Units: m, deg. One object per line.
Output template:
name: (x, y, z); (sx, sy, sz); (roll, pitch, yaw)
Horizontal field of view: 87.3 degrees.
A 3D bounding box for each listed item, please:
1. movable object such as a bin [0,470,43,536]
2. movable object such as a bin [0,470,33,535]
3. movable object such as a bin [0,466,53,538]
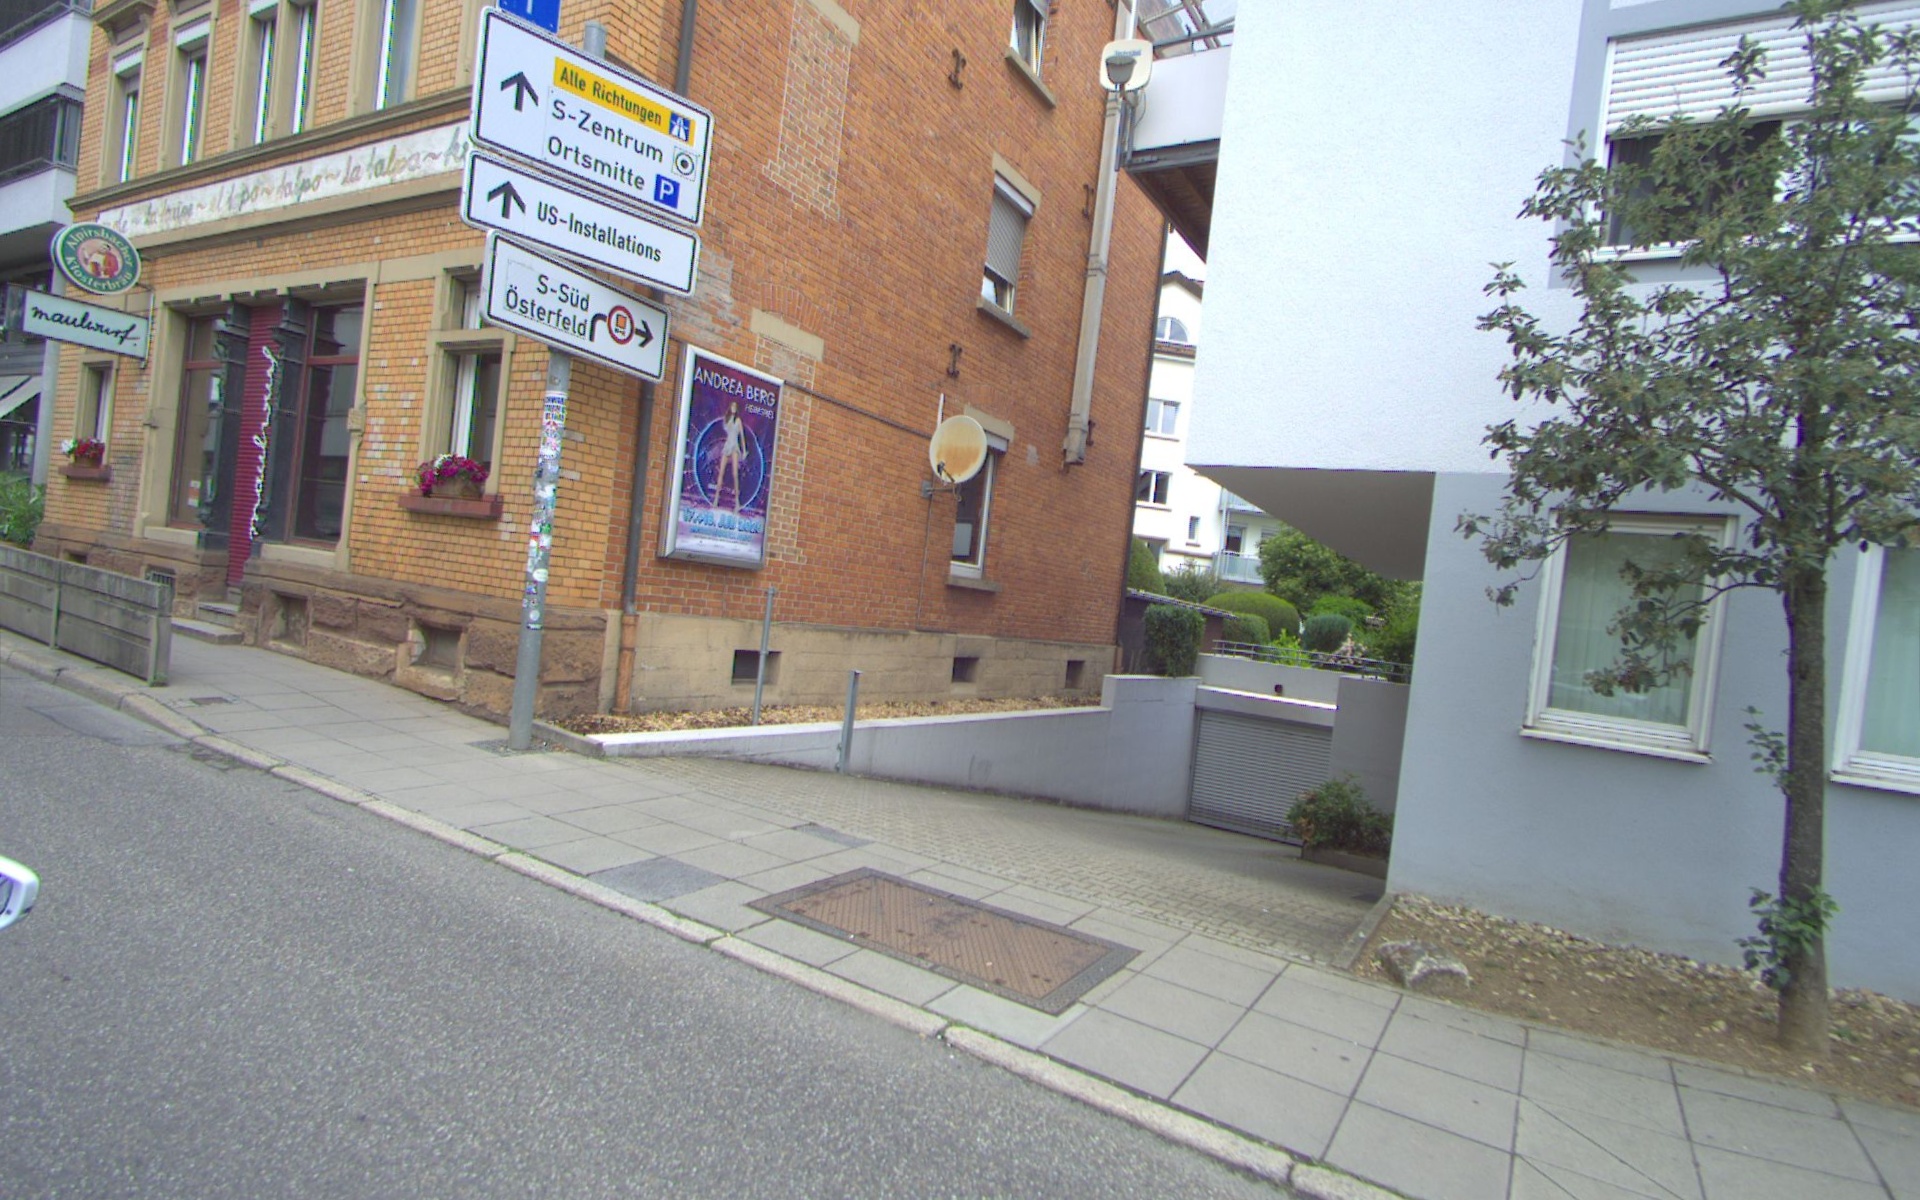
movable object such as a bin: (-23.044, -2.358, 24.540); (0.720, 1.510, 0.820); (6, 3, 33)
movable object such as a bin: (-23.671, -2.426, 24.938); (0.720, 1.524, 0.820); (6, 3, 33)
movable object such as a bin: (-22.426, -2.346, 24.122); (0.720, 1.611, 0.820); (6, 3, 33)
